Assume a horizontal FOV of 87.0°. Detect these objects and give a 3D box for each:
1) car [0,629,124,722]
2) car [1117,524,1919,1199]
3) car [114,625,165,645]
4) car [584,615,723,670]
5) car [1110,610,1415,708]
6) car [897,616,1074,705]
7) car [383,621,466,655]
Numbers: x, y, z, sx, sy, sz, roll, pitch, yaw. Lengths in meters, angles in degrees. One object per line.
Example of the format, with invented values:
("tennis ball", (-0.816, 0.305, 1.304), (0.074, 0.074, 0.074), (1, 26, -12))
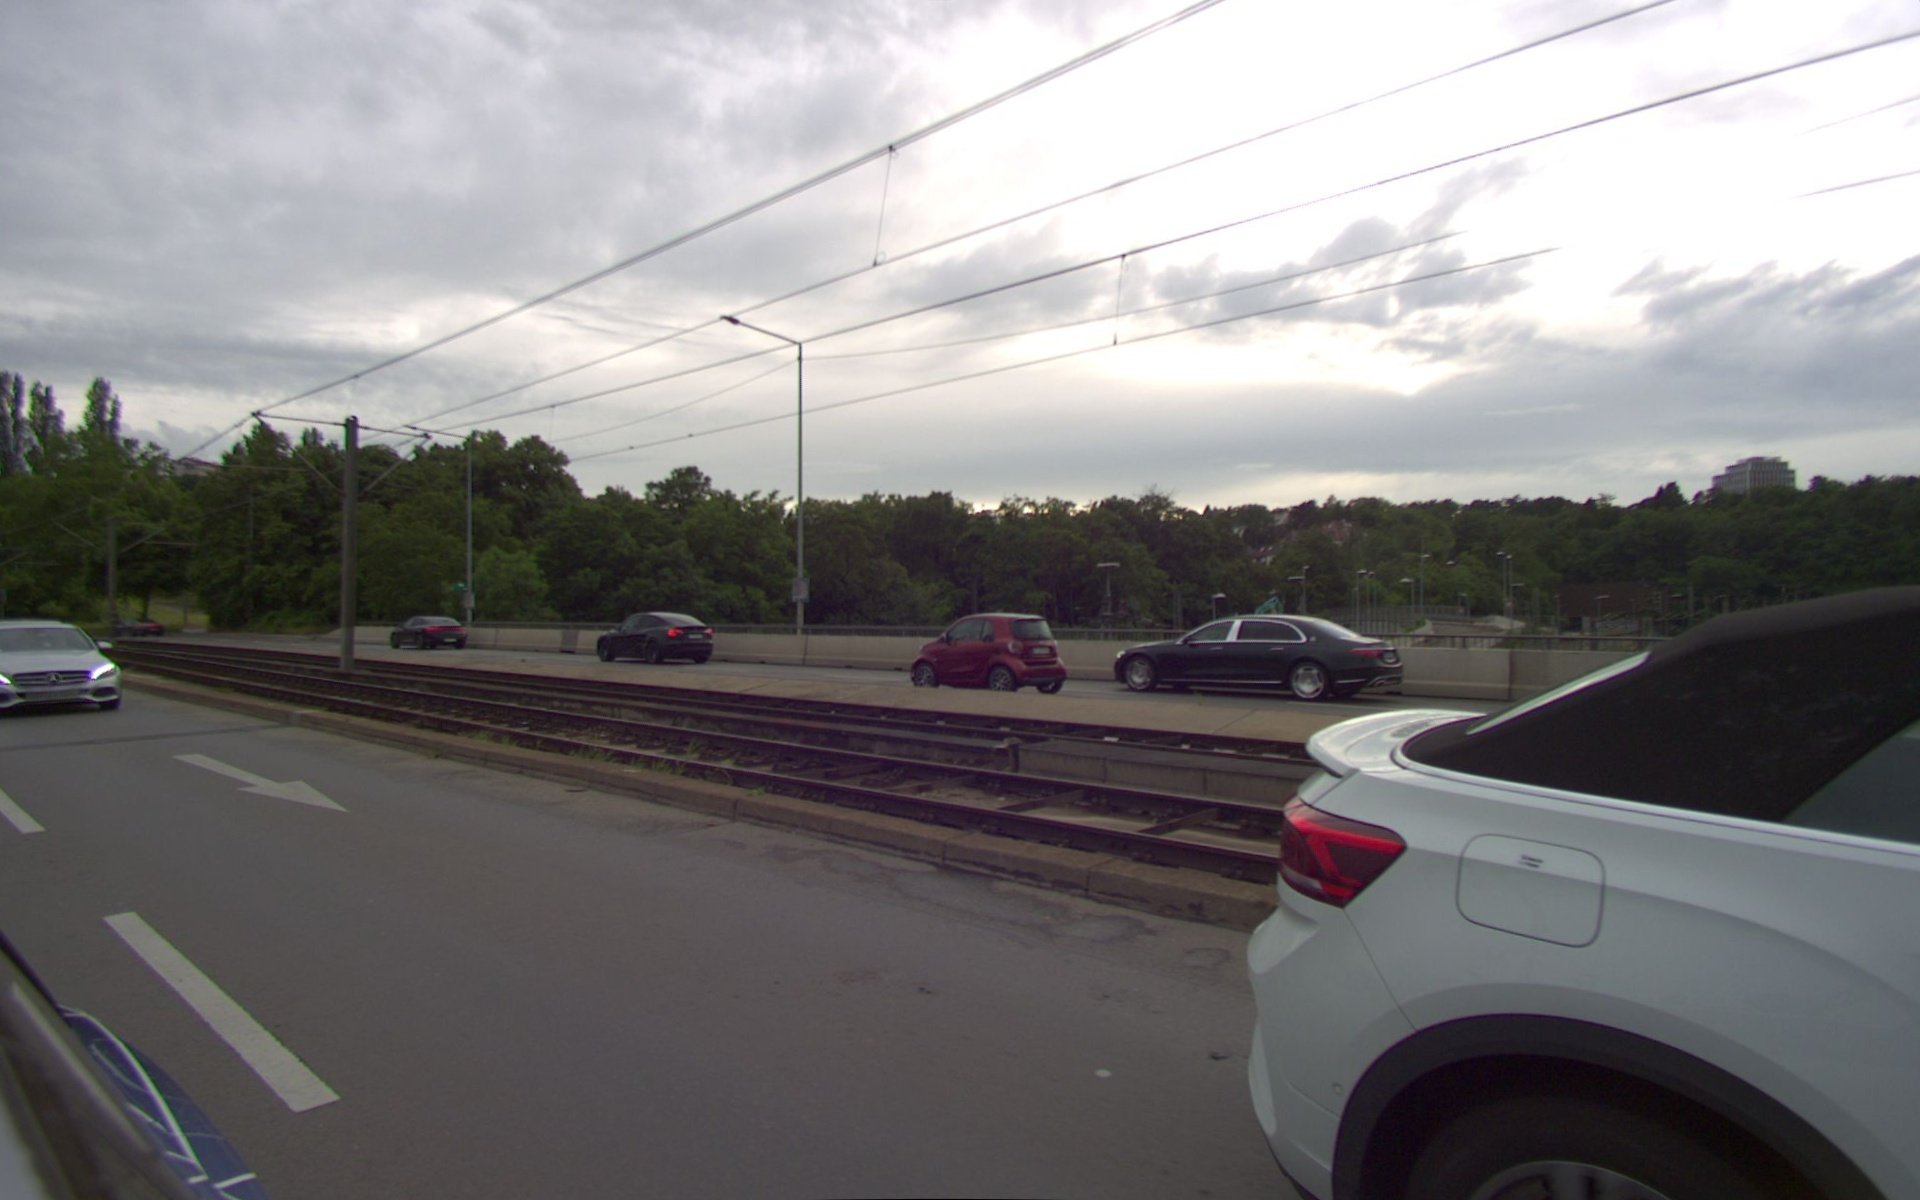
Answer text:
("car", (-15.316, 1.172, 16.653), (4.059, 1.366, 1.847), (-2, -2, 42))
("car", (2.640, 0.659, 1.328), (4.538, 1.535, 1.852), (-1, -1, 41))
("car", (-59.580, 2.567, 73.452), (4.611, 1.324, 1.820), (-3, 0, 37))
("car", (-9.841, 1.369, 32.337), (4.725, 1.609, 1.878), (-2, -3, 38))
("car", (5.562, 1.017, 19.062), (5.182, 1.609, 1.948), (0, -2, 41))
("car", (0.447, 1.098, 19.187), (3.016, 1.504, 1.584), (0, -2, 41))
("car", (-24.017, 1.708, 45.320), (4.739, 1.447, 1.797), (-2, -2, 42))
